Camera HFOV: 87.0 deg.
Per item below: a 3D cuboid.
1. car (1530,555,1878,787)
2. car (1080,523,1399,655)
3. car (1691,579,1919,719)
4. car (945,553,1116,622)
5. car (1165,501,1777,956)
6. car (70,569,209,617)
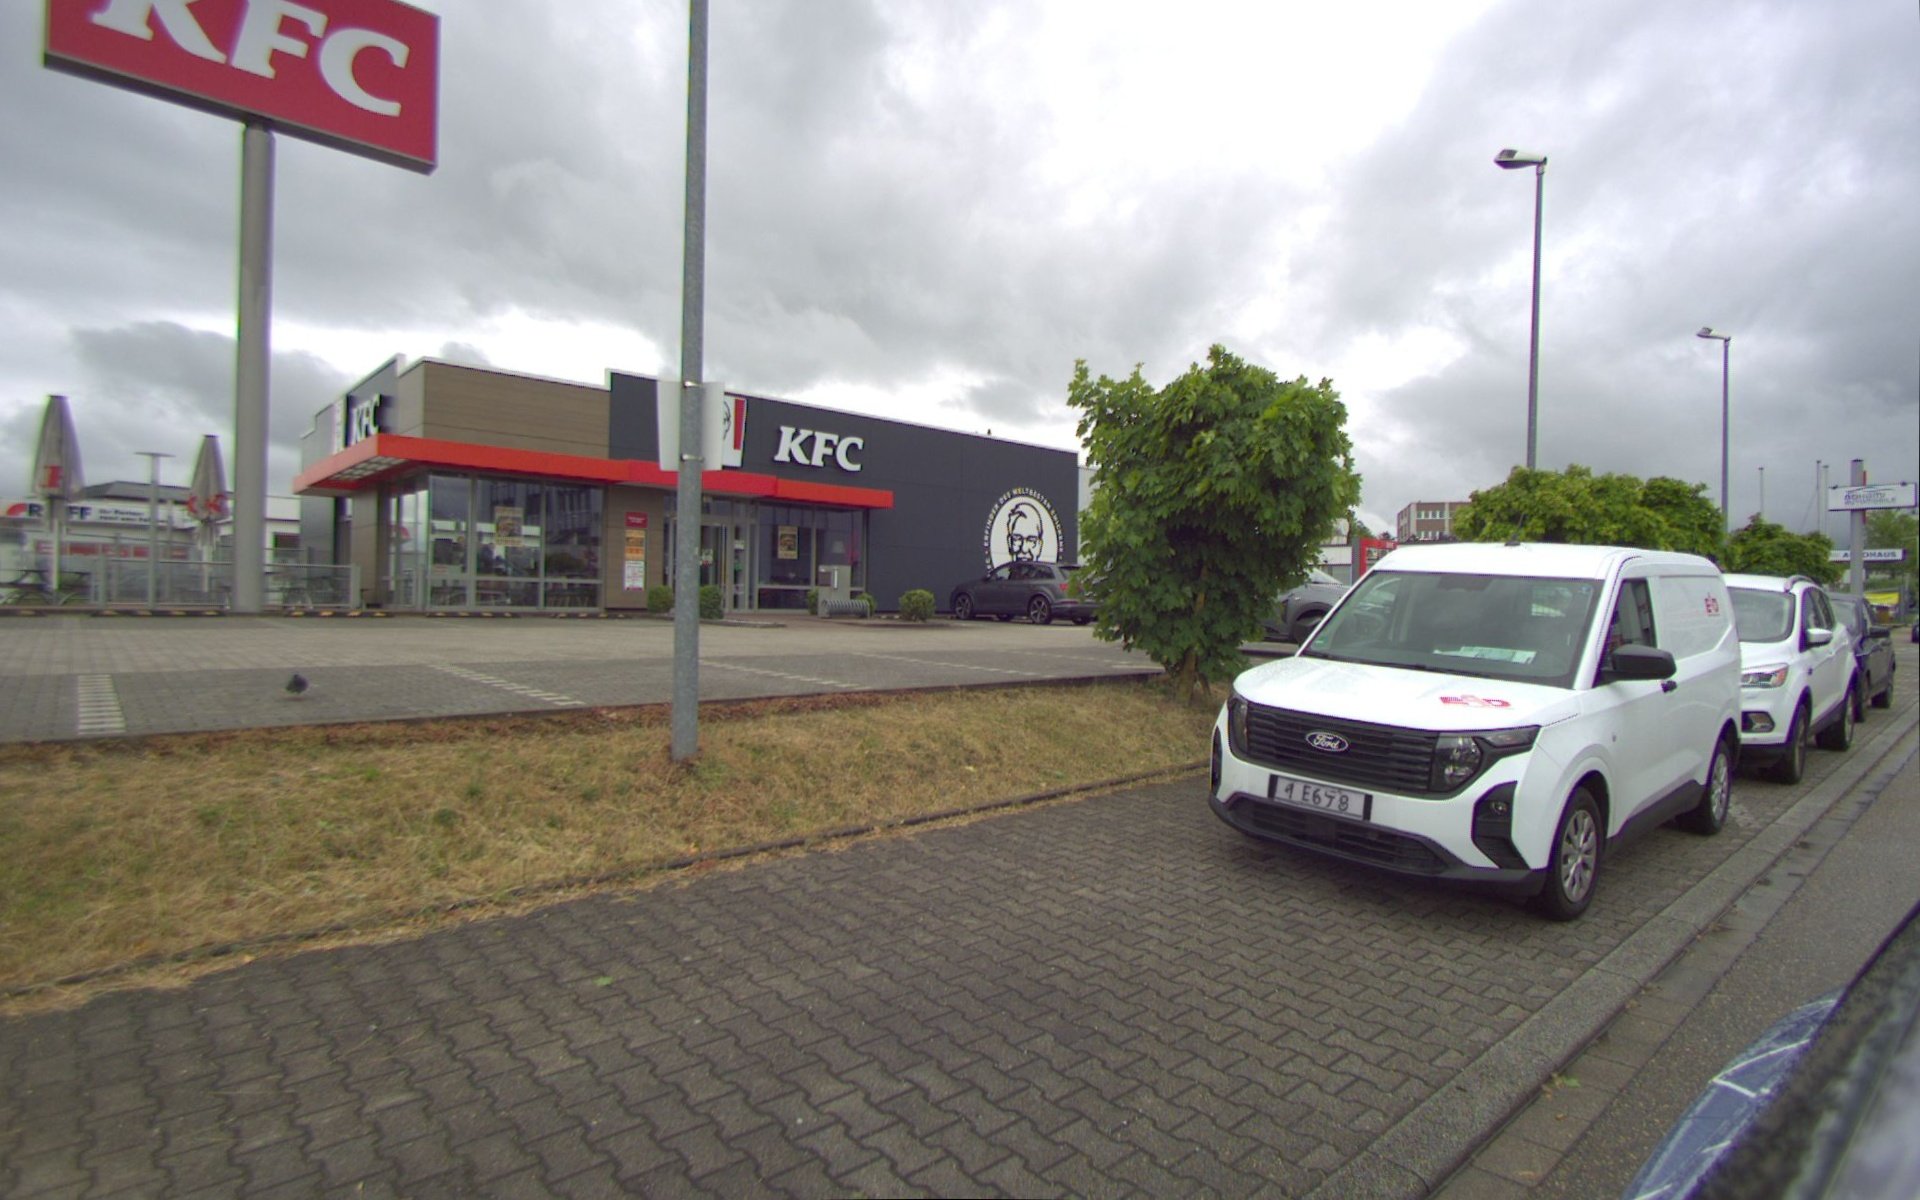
[{"bbox_3d":[7.099,0.499,9.519,3.930,1.730,1.821,-1,1,-41],"label":"car"},{"bbox_3d":[4.208,-0.190,15.765,4.489,1.762,1.862,1,1,45],"label":"car"},{"bbox_3d":[11.535,0.542,13.697,3.930,1.618,1.821,-1,1,-41],"label":"car"},{"bbox_3d":[1.881,-0.367,28.164,4.729,1.762,1.862,1,1,45],"label":"car"},{"bbox_3d":[3.264,0.449,6.064,4.175,1.805,1.796,-1,3,-41],"label":"car"},{"bbox_3d":[-30.772,-0.262,38.015,3.934,1.701,1.952,0,1,-44],"label":"car"}]
